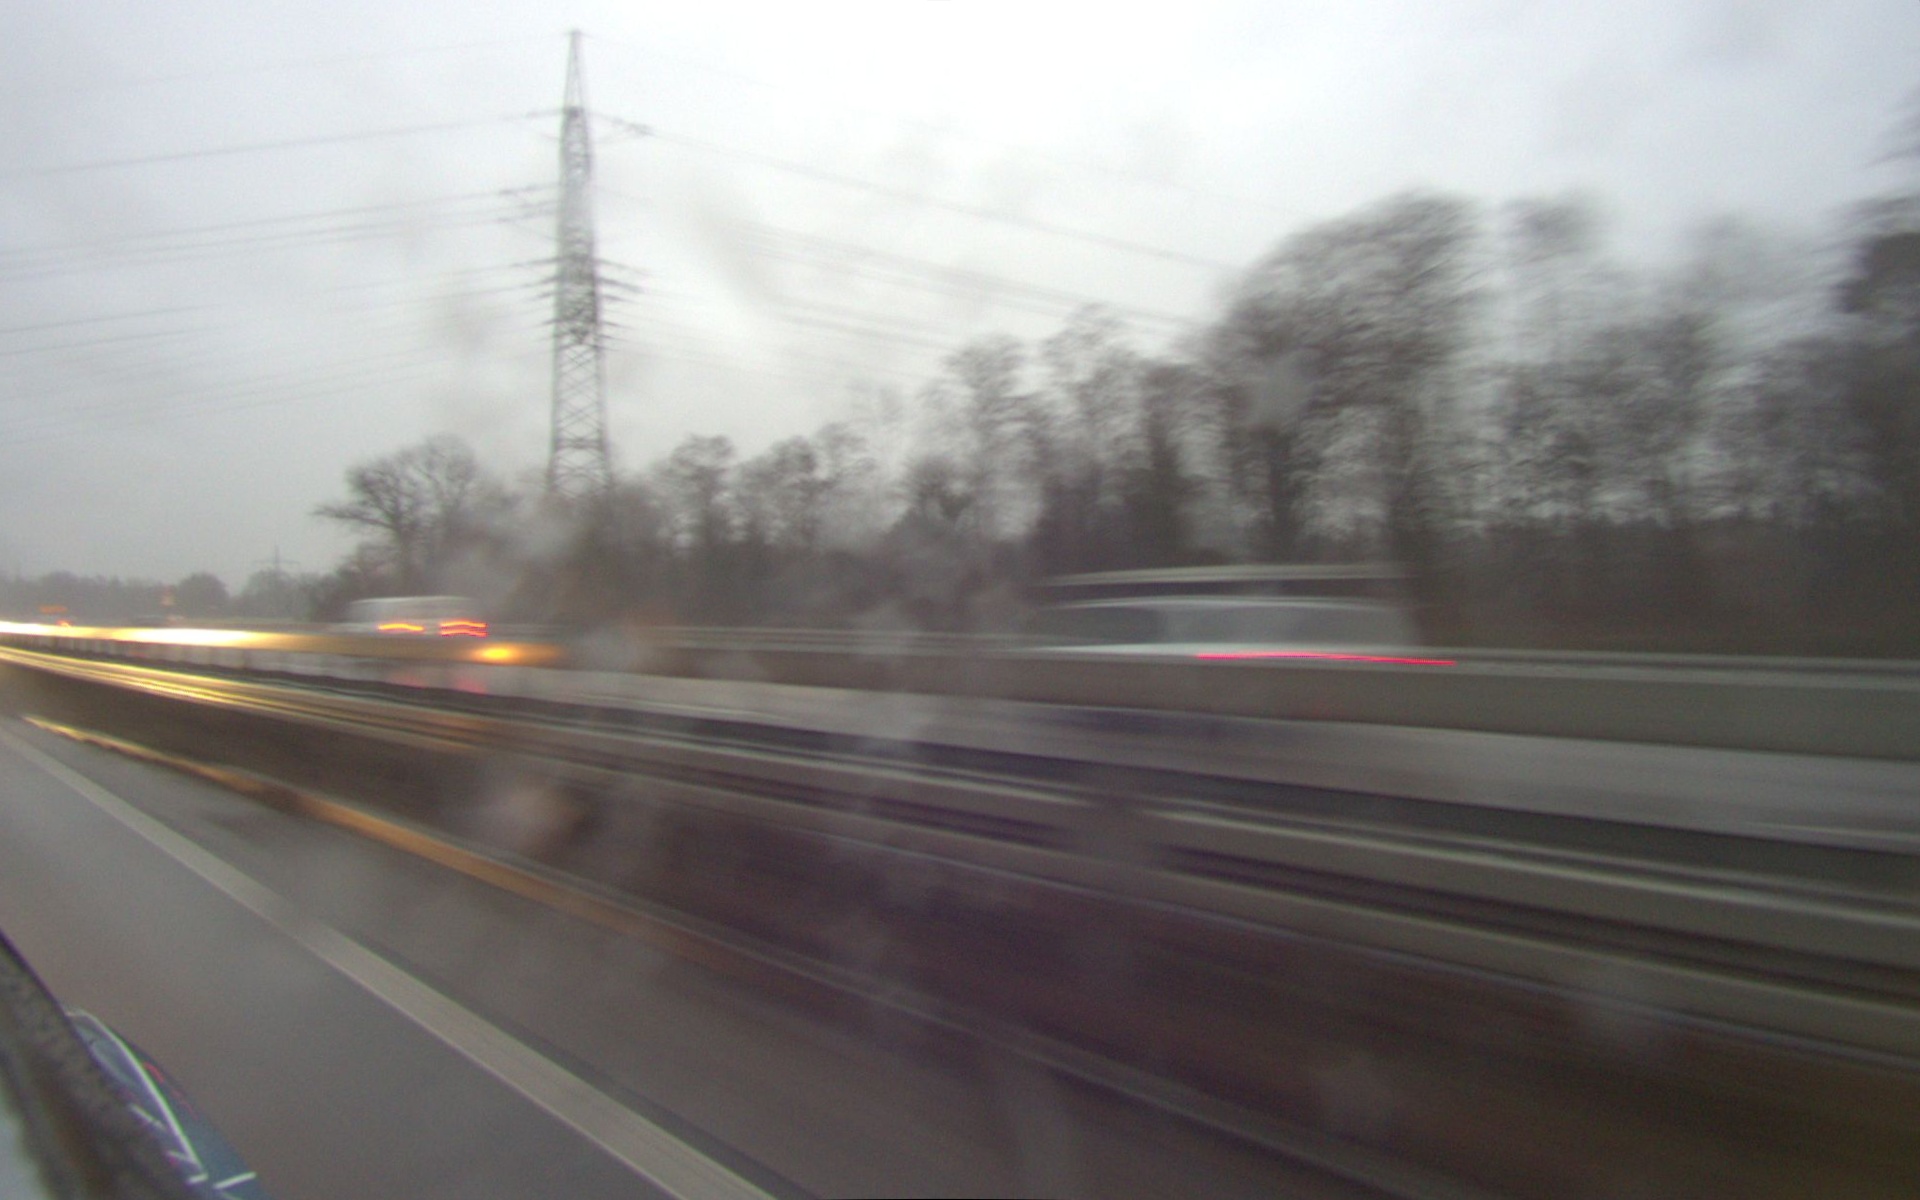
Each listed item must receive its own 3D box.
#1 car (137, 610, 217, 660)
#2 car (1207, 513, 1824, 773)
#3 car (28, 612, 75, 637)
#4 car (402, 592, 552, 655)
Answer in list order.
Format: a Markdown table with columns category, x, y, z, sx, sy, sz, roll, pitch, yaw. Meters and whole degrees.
| category | x | y | z | sx | sy | sz | roll | pitch | yaw |
| --- | --- | --- | --- | --- | --- | --- | --- | --- | --- |
| car | -33.443 | 1.457 | 43.199 | 3.998 | 2.024 | 1.973 | -1 | -1 | 41 |
| car | 5.389 | 0.349 | 10.380 | 5.253 | 2.029 | 1.973 | 0 | 0 | 41 |
| car | -61.351 | 1.615 | 68.317 | 4.000 | 1.593 | 1.972 | 0 | 1 | 43 |
| car | -12.039 | 0.552 | 25.092 | 4.407 | 1.418 | 1.738 | -1 | 0 | 41 |
